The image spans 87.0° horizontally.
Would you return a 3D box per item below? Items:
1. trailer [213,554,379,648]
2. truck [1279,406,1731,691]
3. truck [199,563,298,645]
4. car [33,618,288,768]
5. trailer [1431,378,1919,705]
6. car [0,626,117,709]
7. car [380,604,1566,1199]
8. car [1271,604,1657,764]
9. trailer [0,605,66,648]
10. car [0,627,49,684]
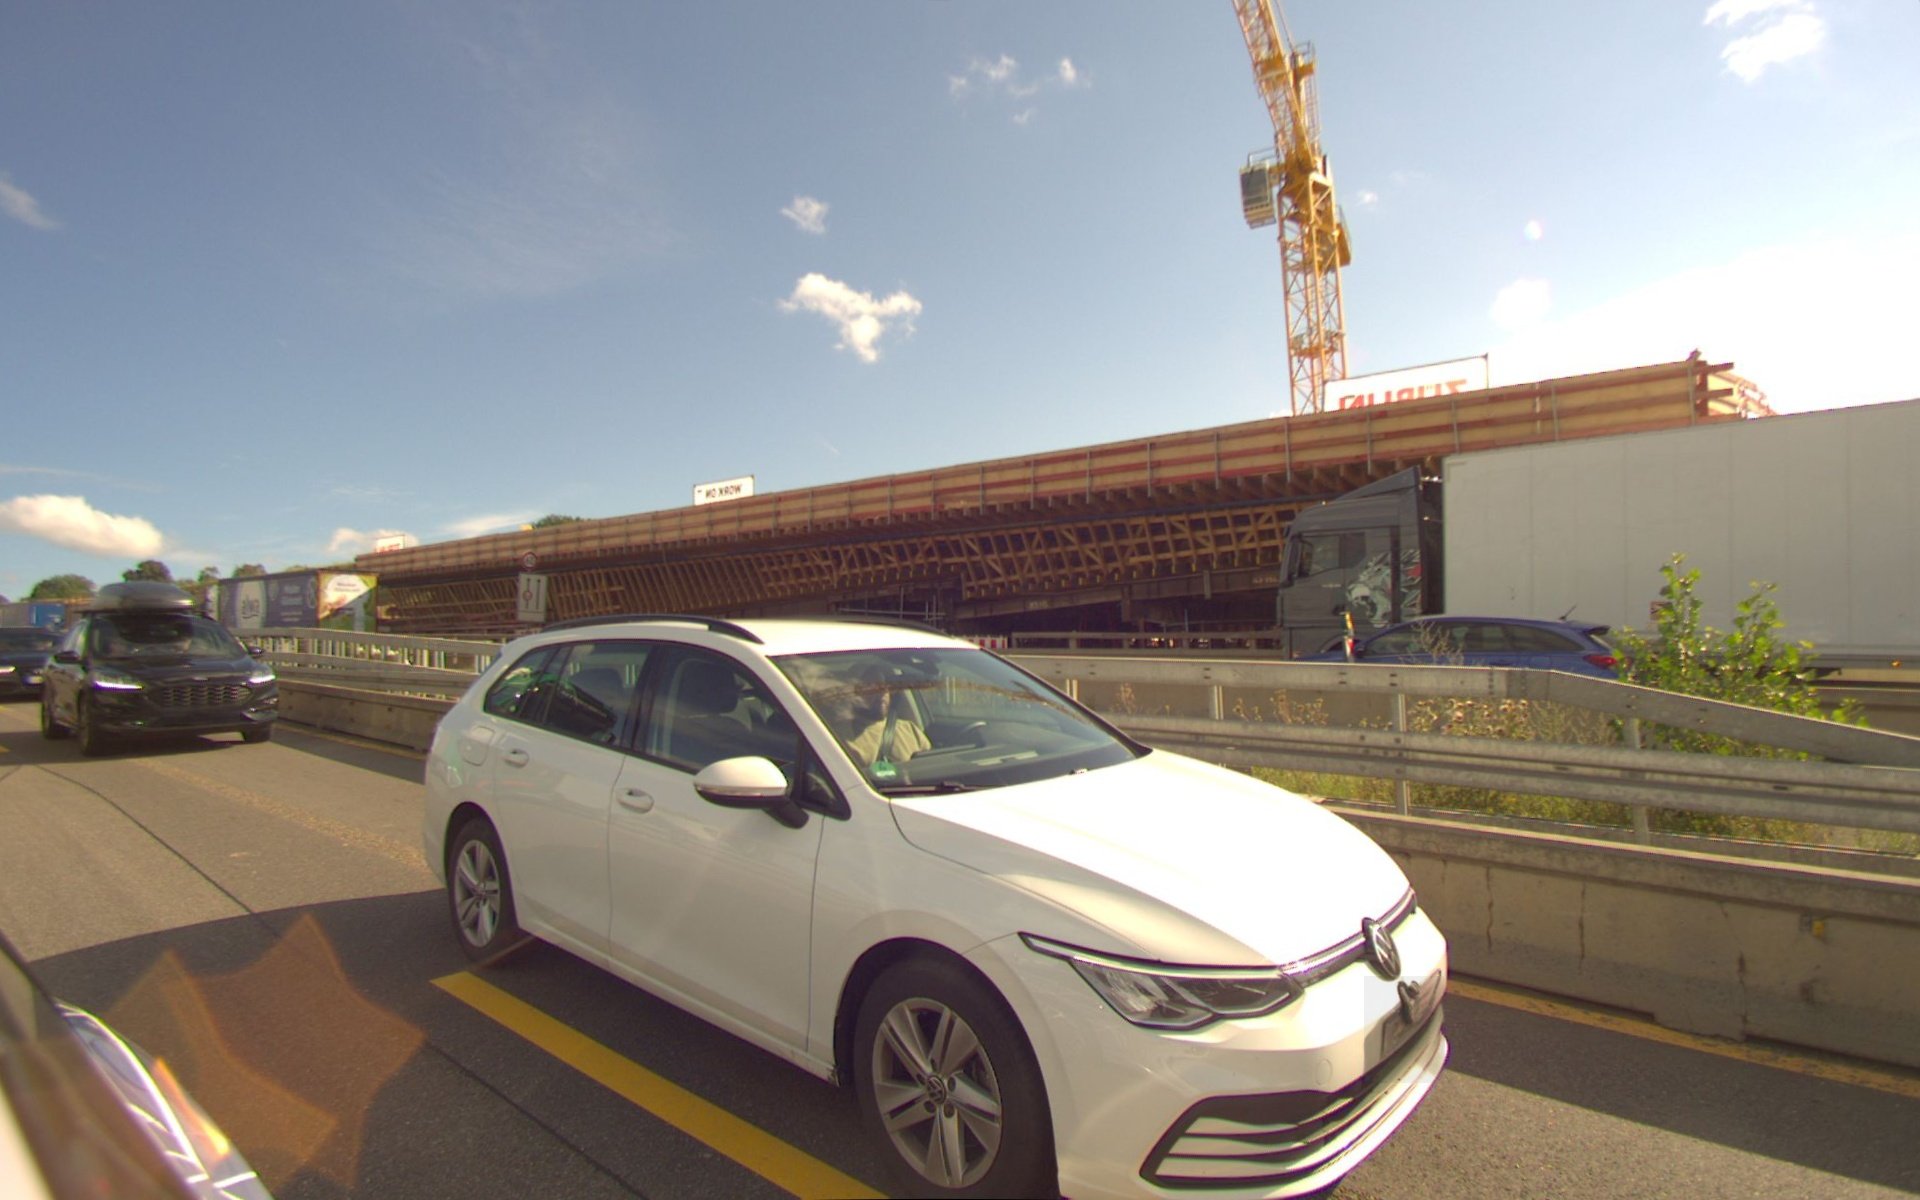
[{"bbox_3d":[-33.290,0.133,50.335,13.793,4.187,2.662,-1,-1,38],"label":"trailer"},{"bbox_3d":[8.709,-0.662,16.665,2.745,3.817,6.021,0,-1,-45],"label":"truck"},{"bbox_3d":[-38.090,0.244,54.123,5.961,4.169,2.686,-1,-1,38],"label":"truck"},{"bbox_3d":[-10.223,1.027,12.819,4.383,1.554,1.780,0,-1,42],"label":"car"},{"bbox_3d":[13.280,-0.704,12.047,2.788,3.870,13.812,0,-1,-45],"label":"trailer"},{"bbox_3d":[-18.896,1.293,20.536,4.500,1.441,1.925,0,-1,39],"label":"car"},{"bbox_3d":[-0.439,0.795,3.884,4.515,1.502,1.751,0,-2,42],"label":"car"},{"bbox_3d":[6.431,0.937,13.178,4.122,1.739,1.972,-1,-1,43],"label":"car"},{"bbox_3d":[-85.018,2.326,92.669,13.519,3.694,2.833,-1,-1,40],"label":"trailer"},{"bbox_3d":[-26.137,1.494,27.176,4.405,1.441,1.924,-2,-2,41],"label":"car"}]
